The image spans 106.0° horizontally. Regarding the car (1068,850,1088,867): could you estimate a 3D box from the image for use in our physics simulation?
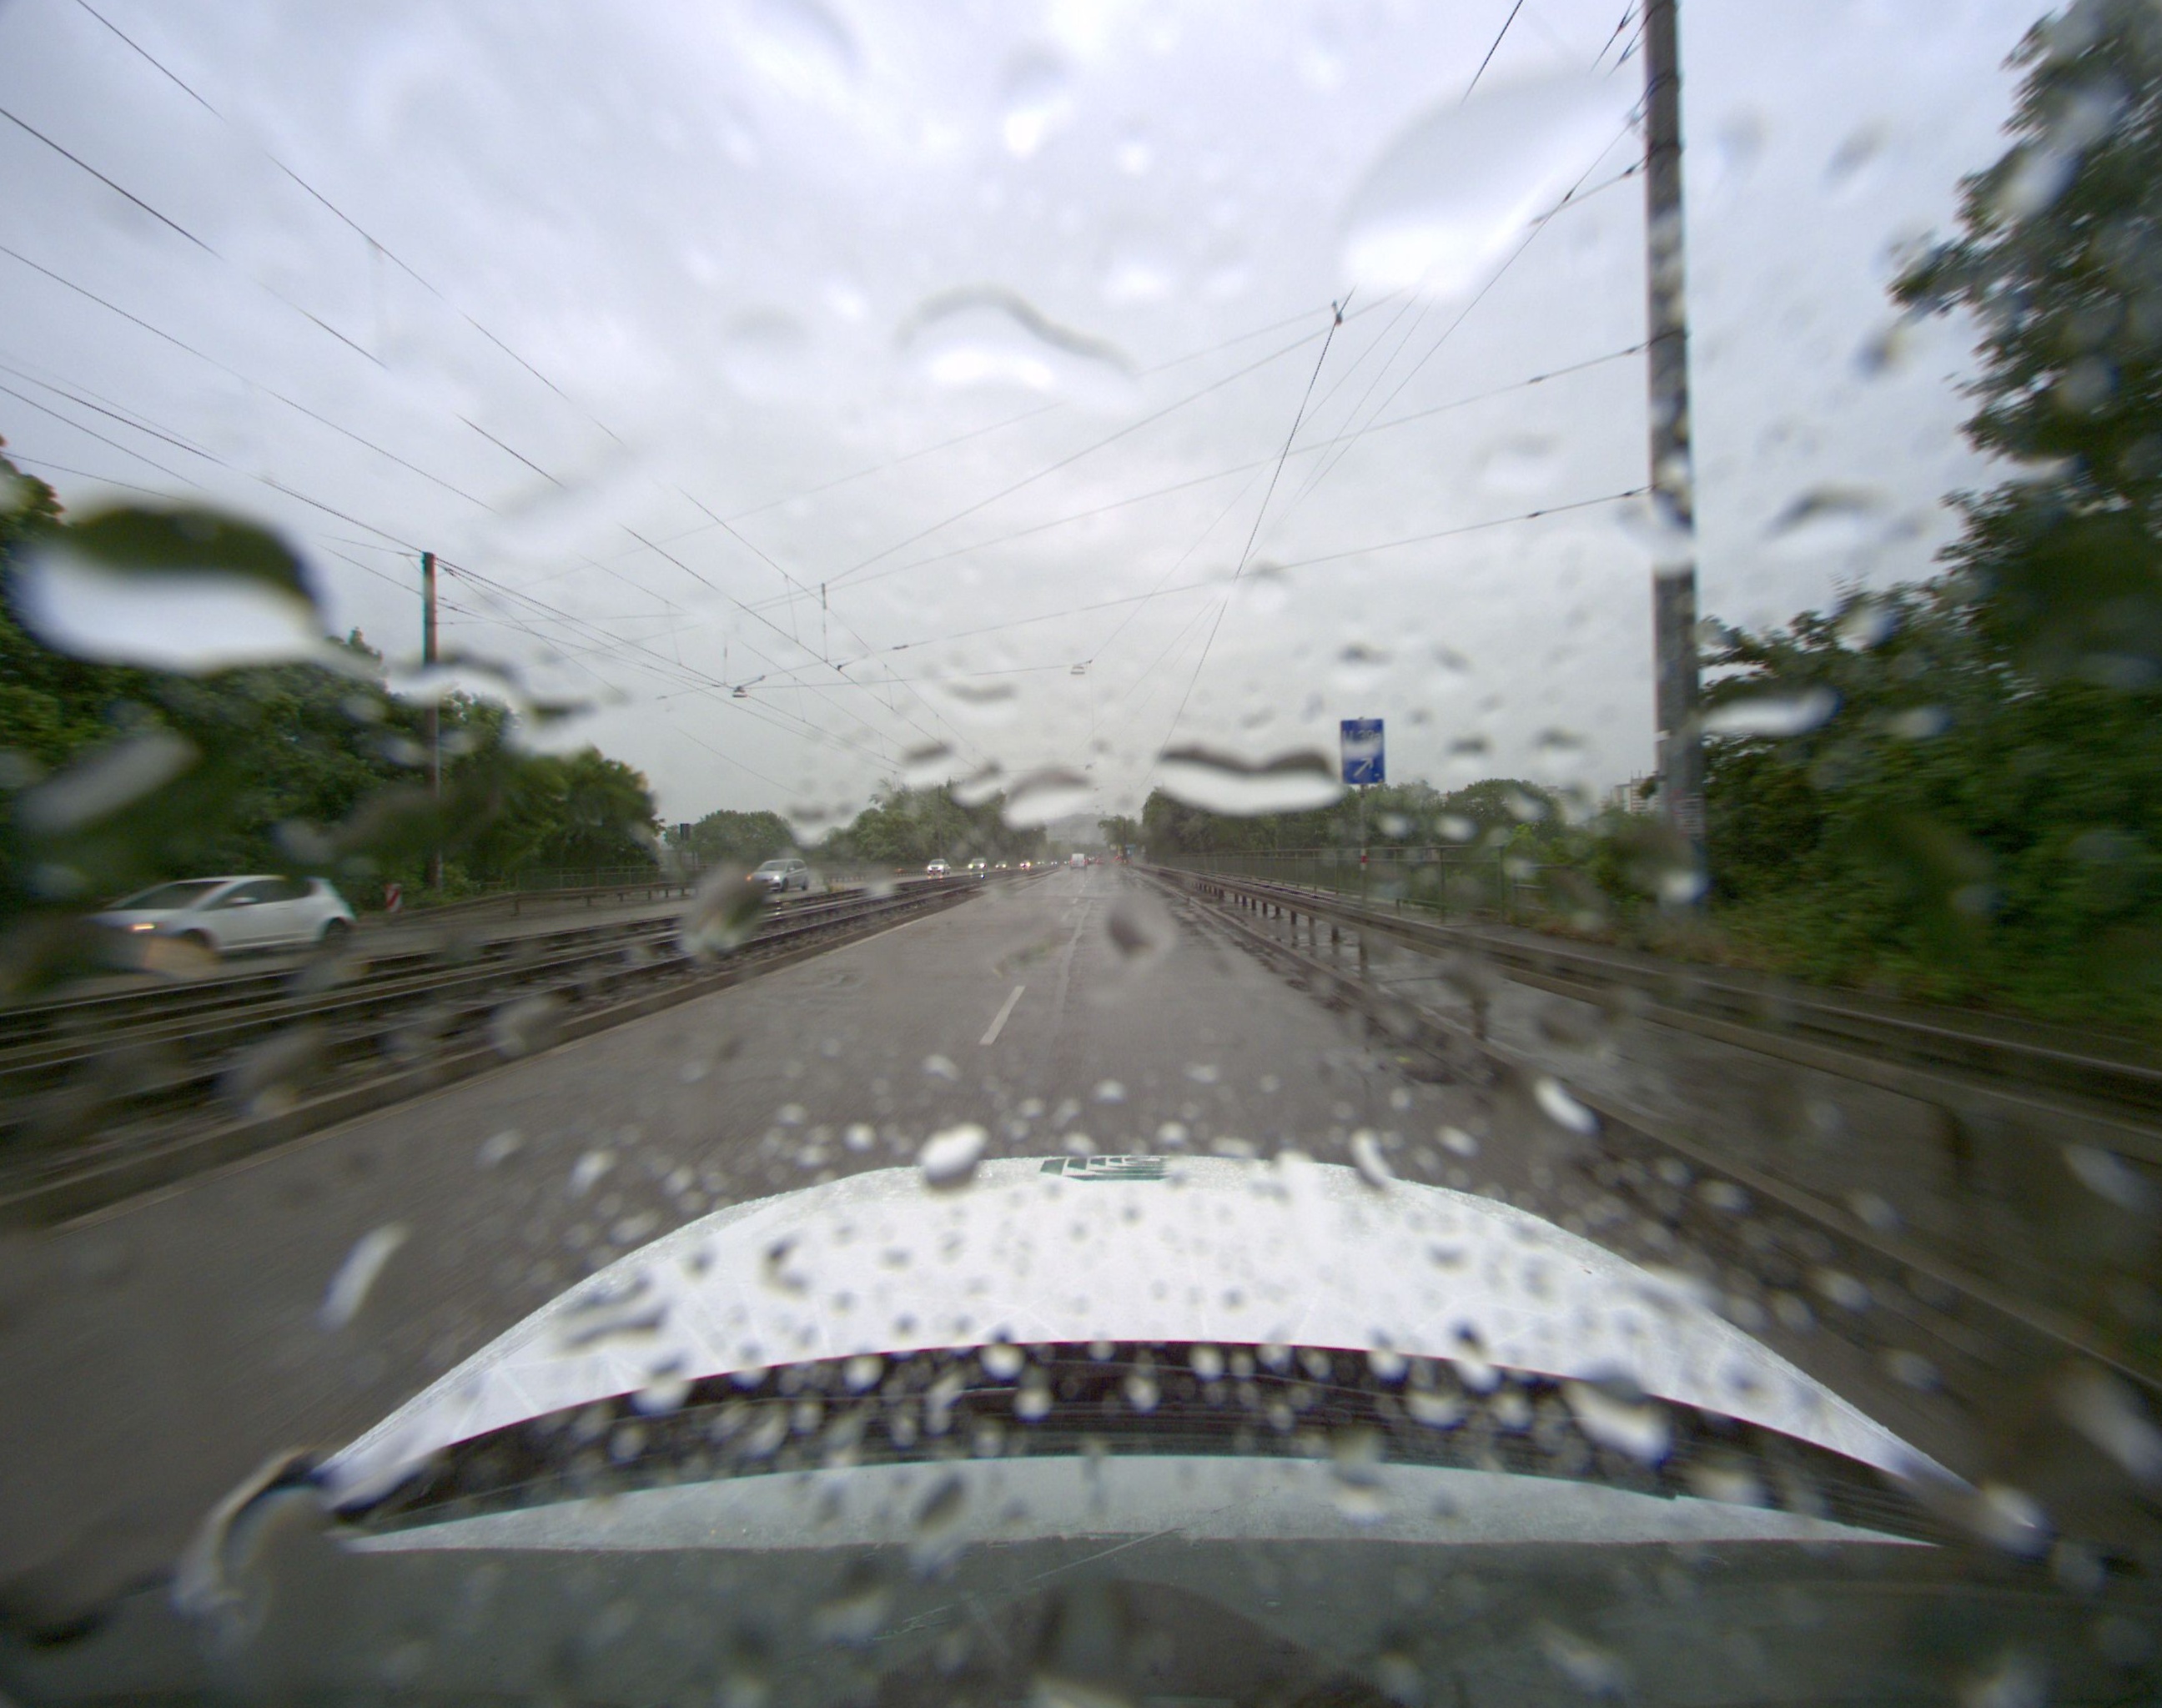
[{"bbox_3d":[-0.310,0.485,87.671,1.981,1.684,3.743,0,1,3],"label":"car"}]

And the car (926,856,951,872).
[{"bbox_3d":[-14.178,0.964,81.228,1.737,1.508,3.701,0,1,1],"label":"car"}]

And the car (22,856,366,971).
[{"bbox_3d":[-15.562,0.936,14.680,1.748,1.711,4.001,0,1,1],"label":"car"}]

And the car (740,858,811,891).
[{"bbox_3d":[-14.882,0.975,39.921,1.791,1.453,4.197,0,1,2],"label":"car"}]

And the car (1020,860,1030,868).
[{"bbox_3d":[-11.608,2.027,167.933,1.737,1.508,3.701,0,1,1],"label":"car"}]

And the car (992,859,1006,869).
[{"bbox_3d":[-12.961,1.597,128.991,1.737,1.508,3.701,0,1,1],"label":"car"}]

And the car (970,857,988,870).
[{"bbox_3d":[-12.867,1.144,103.263,1.737,1.508,3.701,0,1,1],"label":"car"}]

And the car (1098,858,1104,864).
[{"bbox_3d":[5.191,1.760,211.311,1.737,1.508,3.701,0,1,1],"label":"car"}]
